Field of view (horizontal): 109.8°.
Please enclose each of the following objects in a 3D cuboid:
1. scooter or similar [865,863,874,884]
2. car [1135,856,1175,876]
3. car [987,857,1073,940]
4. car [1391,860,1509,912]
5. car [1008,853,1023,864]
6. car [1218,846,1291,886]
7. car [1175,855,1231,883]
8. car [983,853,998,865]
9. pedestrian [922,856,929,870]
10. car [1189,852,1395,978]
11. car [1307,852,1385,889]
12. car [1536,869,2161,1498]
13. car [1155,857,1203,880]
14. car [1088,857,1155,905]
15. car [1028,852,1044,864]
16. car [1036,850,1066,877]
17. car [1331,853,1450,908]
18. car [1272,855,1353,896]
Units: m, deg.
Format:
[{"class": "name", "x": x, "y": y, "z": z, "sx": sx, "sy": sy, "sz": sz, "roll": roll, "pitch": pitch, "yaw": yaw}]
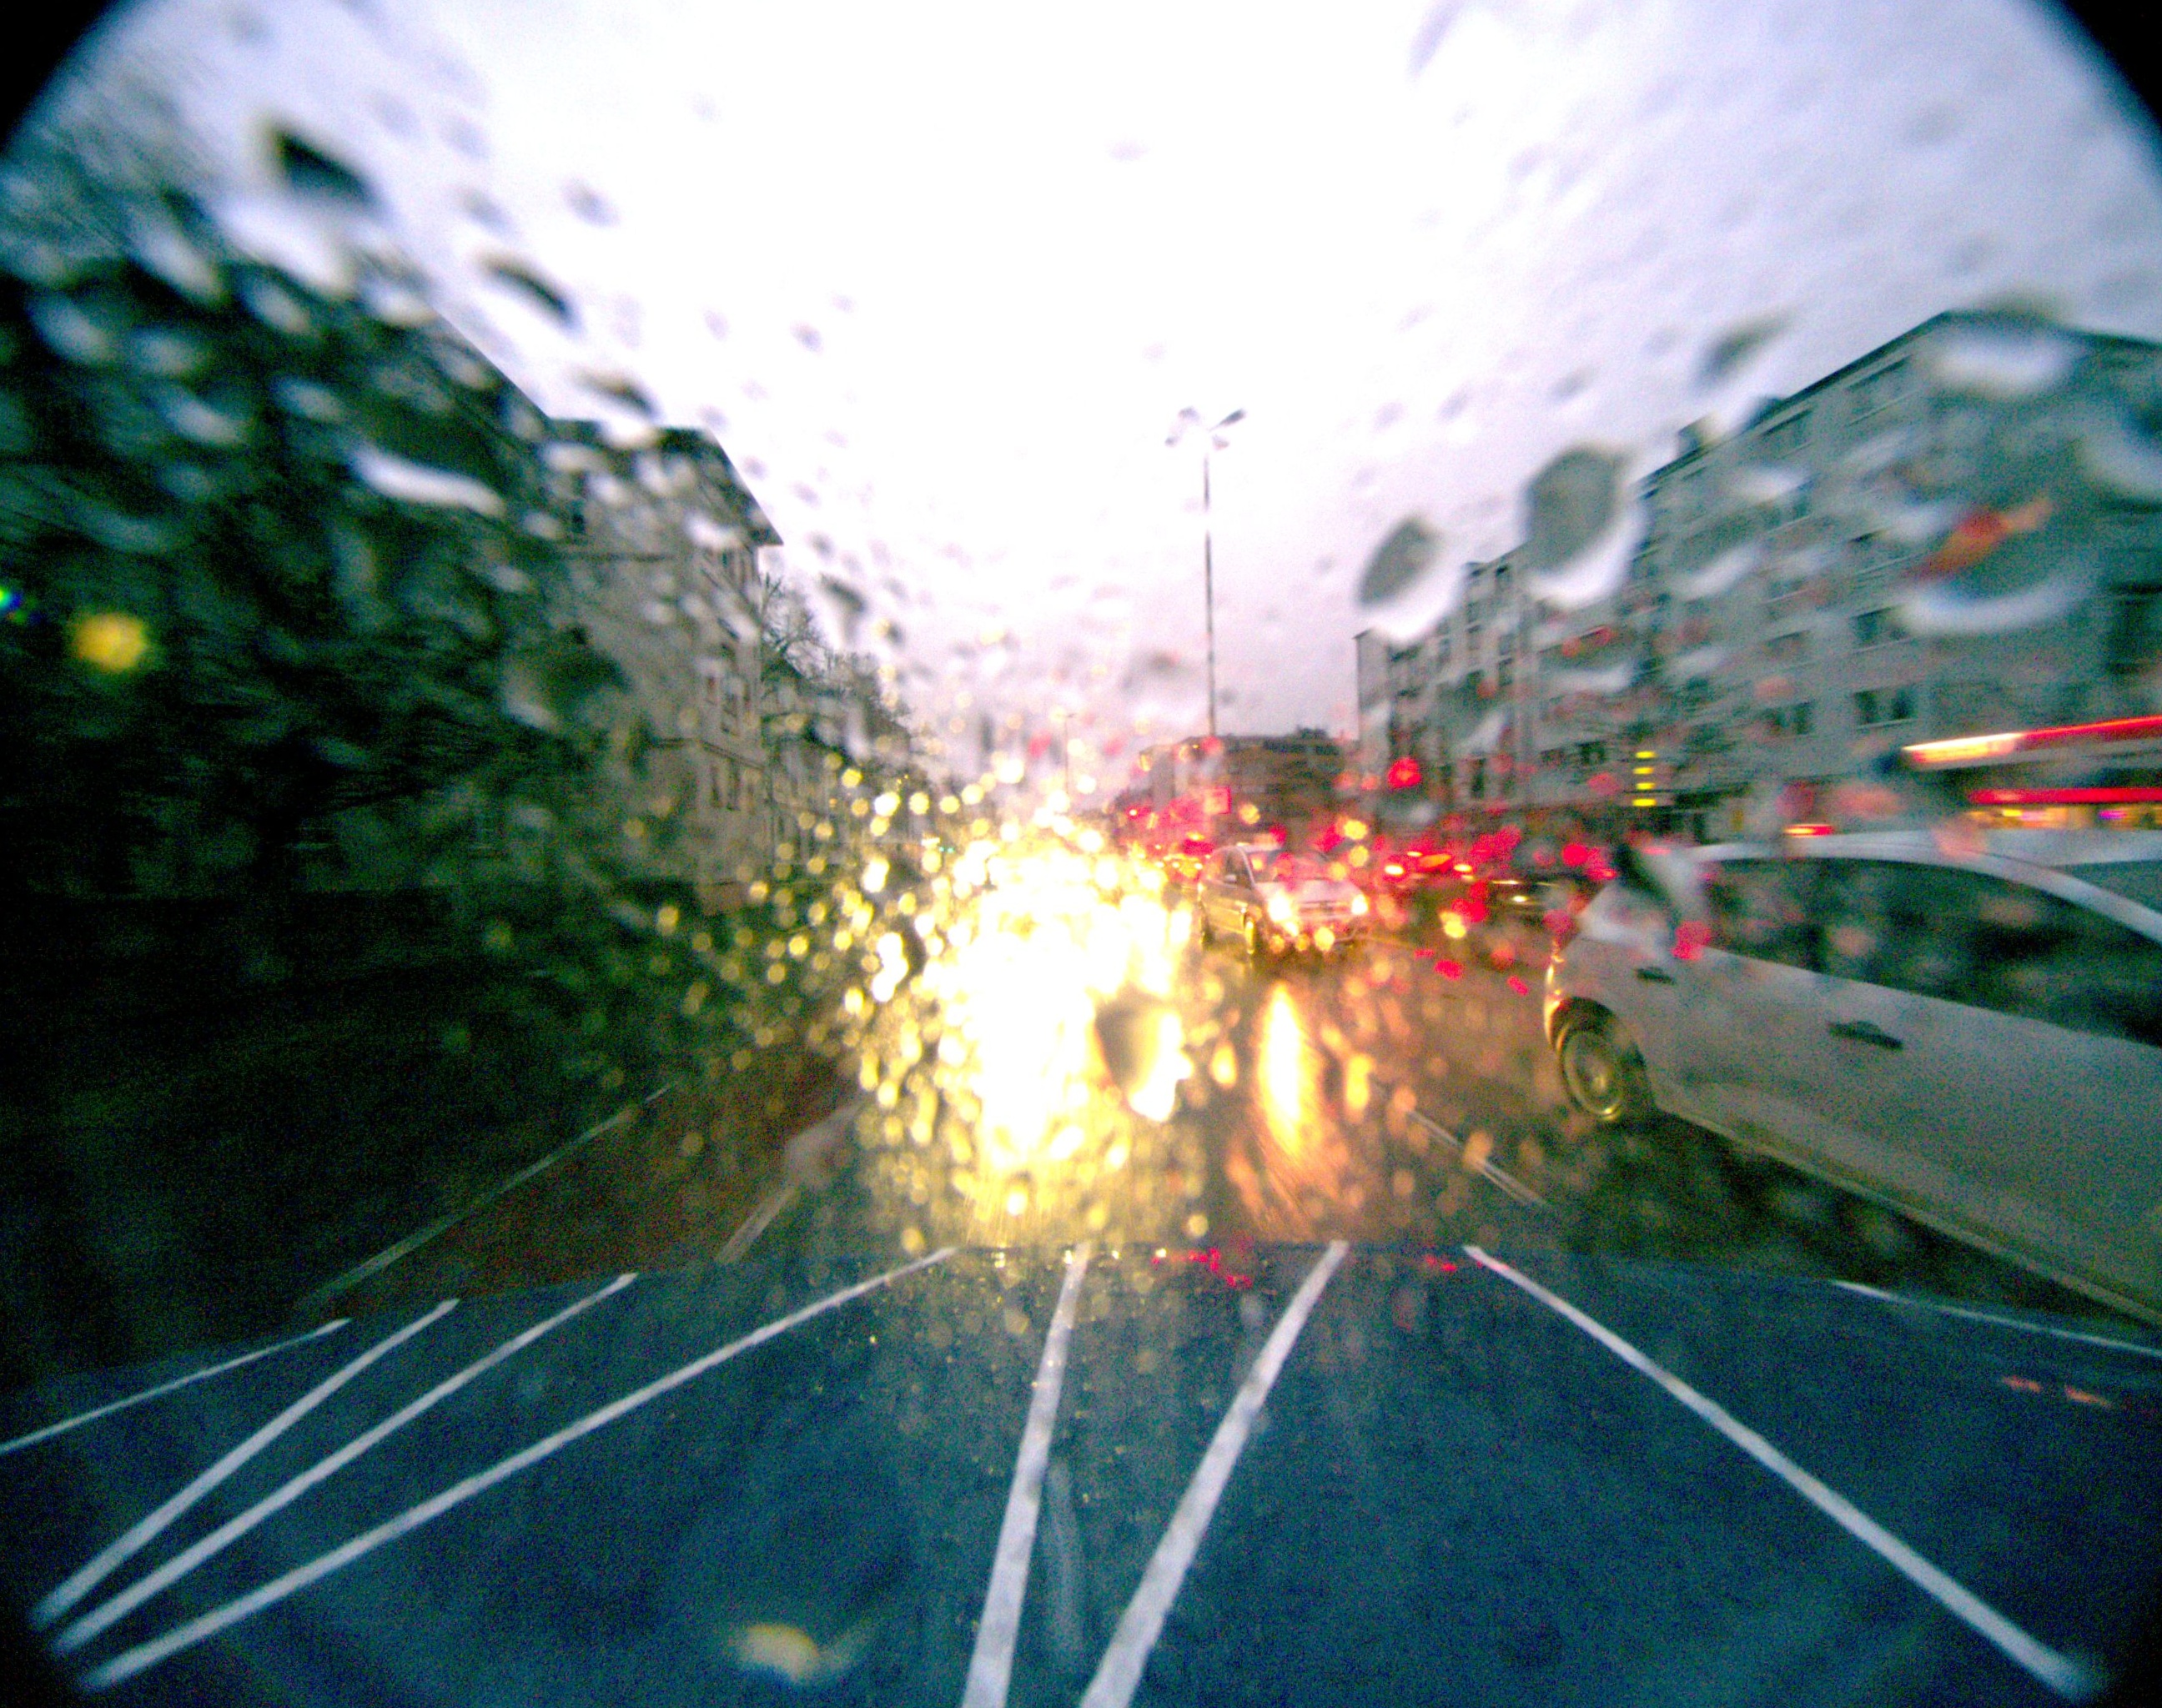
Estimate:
[{"class": "scooter or similar", "x": -12.475, "y": 1.166, "z": 44.862, "sx": 0.442, "sy": 1.196, "sz": 1.080, "roll": -2, "pitch": 0, "yaw": -15}, {"class": "car", "x": 5.407, "y": 0.882, "z": 56.191, "sx": 1.969, "sy": 1.378, "sz": 4.531, "roll": -1, "pitch": 0, "yaw": -7}, {"class": "car", "x": -1.097, "y": 0.904, "z": 17.169, "sx": 1.650, "sy": 1.575, "sz": 3.803, "roll": -2, "pitch": 1, "yaw": -2}, {"class": "car", "x": 12.220, "y": 0.998, "z": 25.488, "sx": 1.650, "sy": 1.557, "sz": 4.279, "roll": -1, "pitch": 0, "yaw": -4}, {"class": "car", "x": -9.385, "y": 0.685, "z": 109.227, "sx": 2.000, "sy": 1.526, "sz": 3.998, "roll": -2, "pitch": 0, "yaw": -6}, {"class": "car", "x": 8.262, "y": 0.579, "z": 36.654, "sx": 1.968, "sy": 1.772, "sz": 4.531, "roll": -1, "pitch": 0, "yaw": -7}, {"class": "car", "x": 6.968, "y": 0.816, "z": 43.723, "sx": 1.969, "sy": 1.505, "sz": 4.531, "roll": -1, "pitch": 0, "yaw": -7}, {"class": "car", "x": -13.007, "y": 0.739, "z": 109.102, "sx": 2.000, "sy": 1.686, "sz": 3.998, "roll": -2, "pitch": 0, "yaw": -6}, {"class": "pedestrian", "x": -17.665, "y": 1.056, "z": 86.147, "sx": 0.656, "sy": 1.579, "sz": 0.561, "roll": -2, "pitch": 0, "yaw": -15}, {"class": "car", "x": 2.995, "y": 0.776, "z": 11.724, "sx": 1.650, "sy": 1.539, "sz": 4.107, "roll": -2, "pitch": 0, "yaw": -6}, {"class": "car", "x": 11.194, "y": 0.677, "z": 32.363, "sx": 1.650, "sy": 1.478, "sz": 3.999, "roll": -1, "pitch": 0, "yaw": -4}, {"class": "car", "x": 3.435, "y": 0.824, "z": 2.286, "sx": 1.630, "sy": 1.478, "sz": 3.999, "roll": -1, "pitch": 0, "yaw": -2}, {"class": "car", "x": 6.284, "y": 0.930, "z": 49.273, "sx": 1.969, "sy": 1.378, "sz": 4.531, "roll": -1, "pitch": 0, "yaw": -7}, {"class": "car", "x": 1.339, "y": 0.869, "z": 26.516, "sx": 1.754, "sy": 1.535, "sz": 3.998, "roll": -1, "pitch": 0, "yaw": -5}, {"class": "car", "x": -6.449, "y": 0.535, "z": 109.114, "sx": 2.000, "sy": 1.599, "sz": 3.998, "roll": -2, "pitch": 0, "yaw": -6}, {"class": "car", "x": -2.109, "y": 0.621, "z": 52.476, "sx": 1.820, "sy": 1.732, "sz": 4.184, "roll": -1, "pitch": 0, "yaw": -6}, {"class": "car", "x": 9.127, "y": 0.740, "z": 22.798, "sx": 1.650, "sy": 1.478, "sz": 4.143, "roll": -1, "pitch": 0, "yaw": -4}, {"class": "car", "x": 8.857, "y": 0.788, "z": 29.433, "sx": 1.650, "sy": 1.478, "sz": 3.999, "roll": -1, "pitch": 0, "yaw": -4}]
